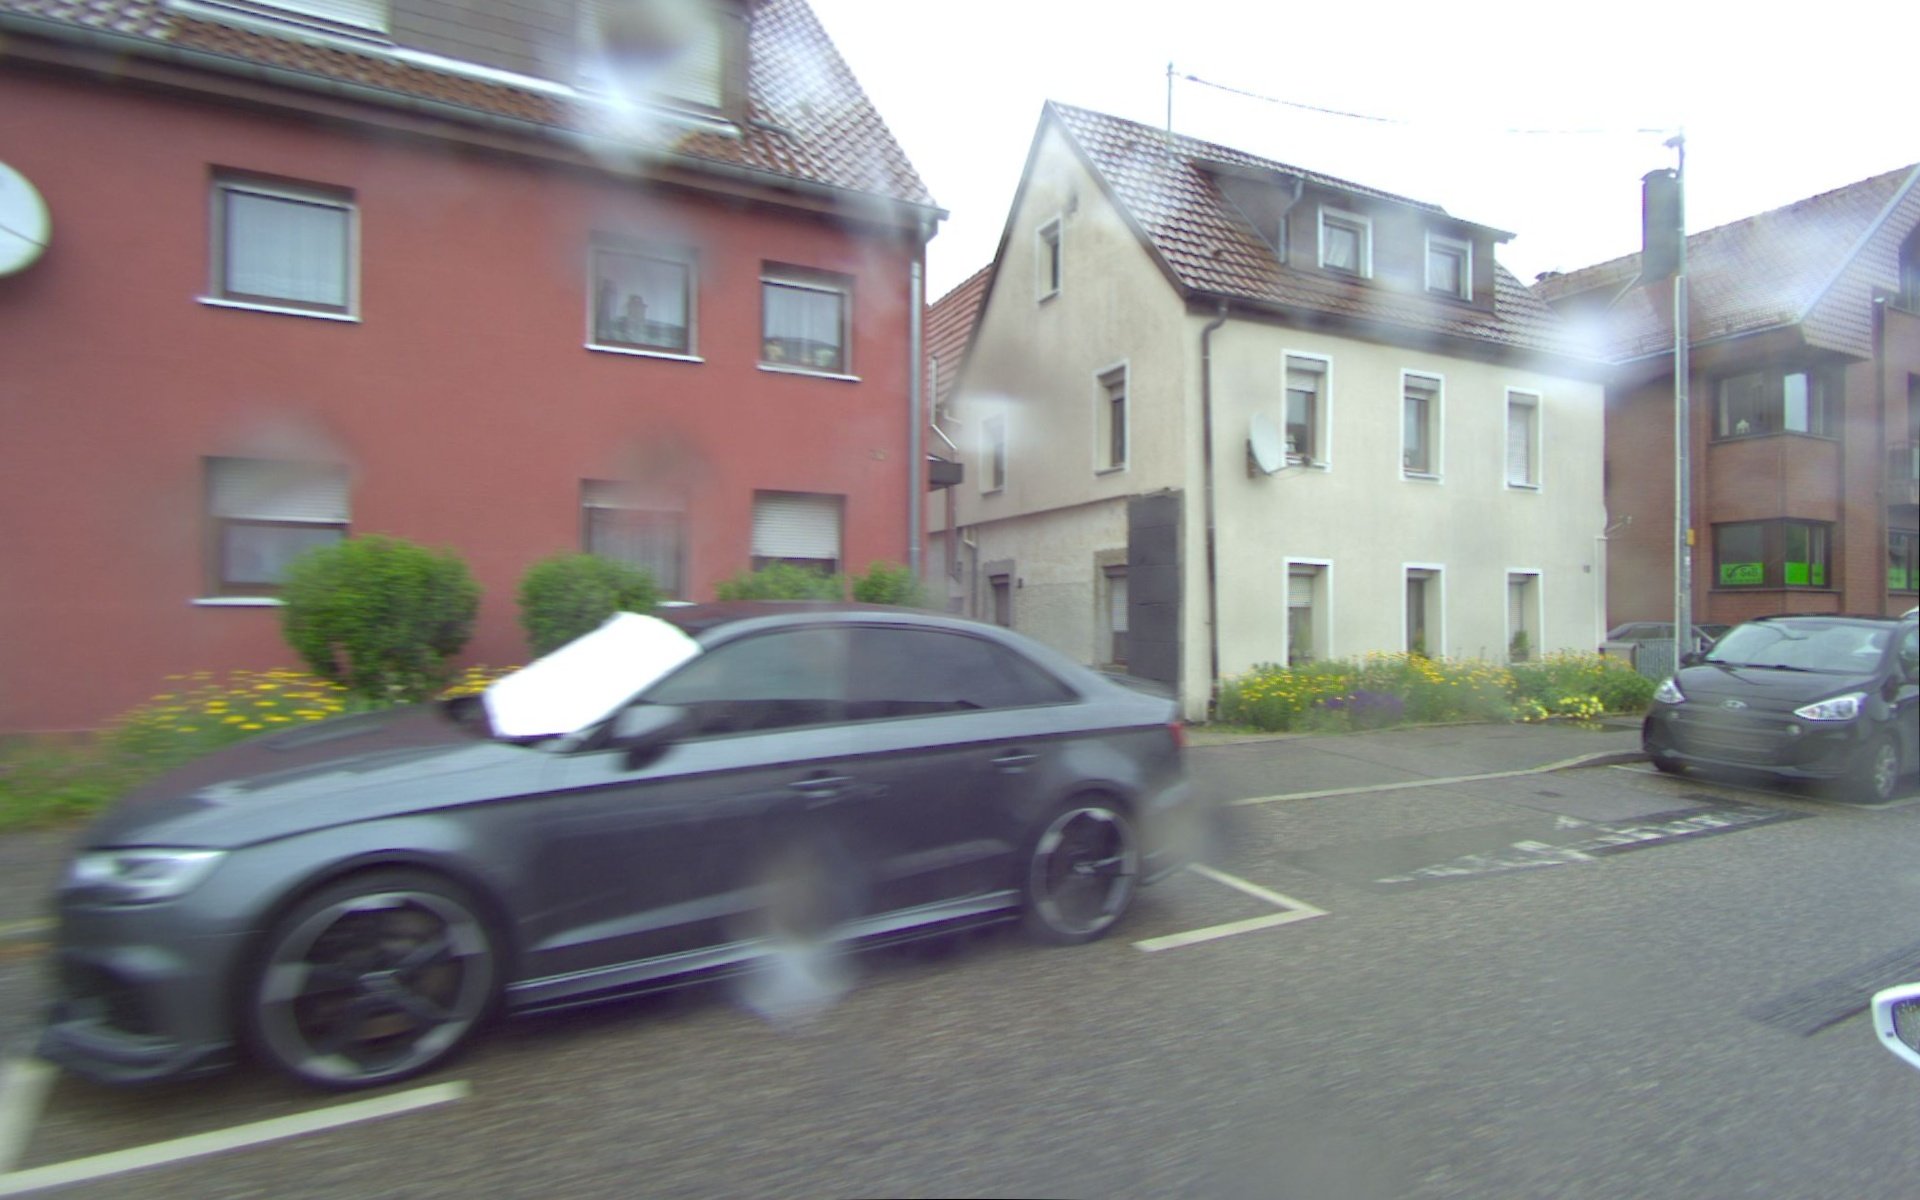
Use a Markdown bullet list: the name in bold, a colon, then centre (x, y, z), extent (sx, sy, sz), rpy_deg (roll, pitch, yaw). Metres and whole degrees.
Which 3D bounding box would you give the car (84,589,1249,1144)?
- **car**: centre (-0.841, 0.713, 4.261), extent (4.063, 1.374, 1.618), rpy_deg (2, 1, -31)

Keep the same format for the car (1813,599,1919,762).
- **car**: centre (11.615, 0.868, 11.298), extent (4.603, 1.640, 1.755), rpy_deg (2, -2, -31)

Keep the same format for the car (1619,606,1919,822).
- **car**: centre (7.718, 0.917, 9.130), extent (3.236, 1.639, 1.598), rpy_deg (2, -2, -29)
